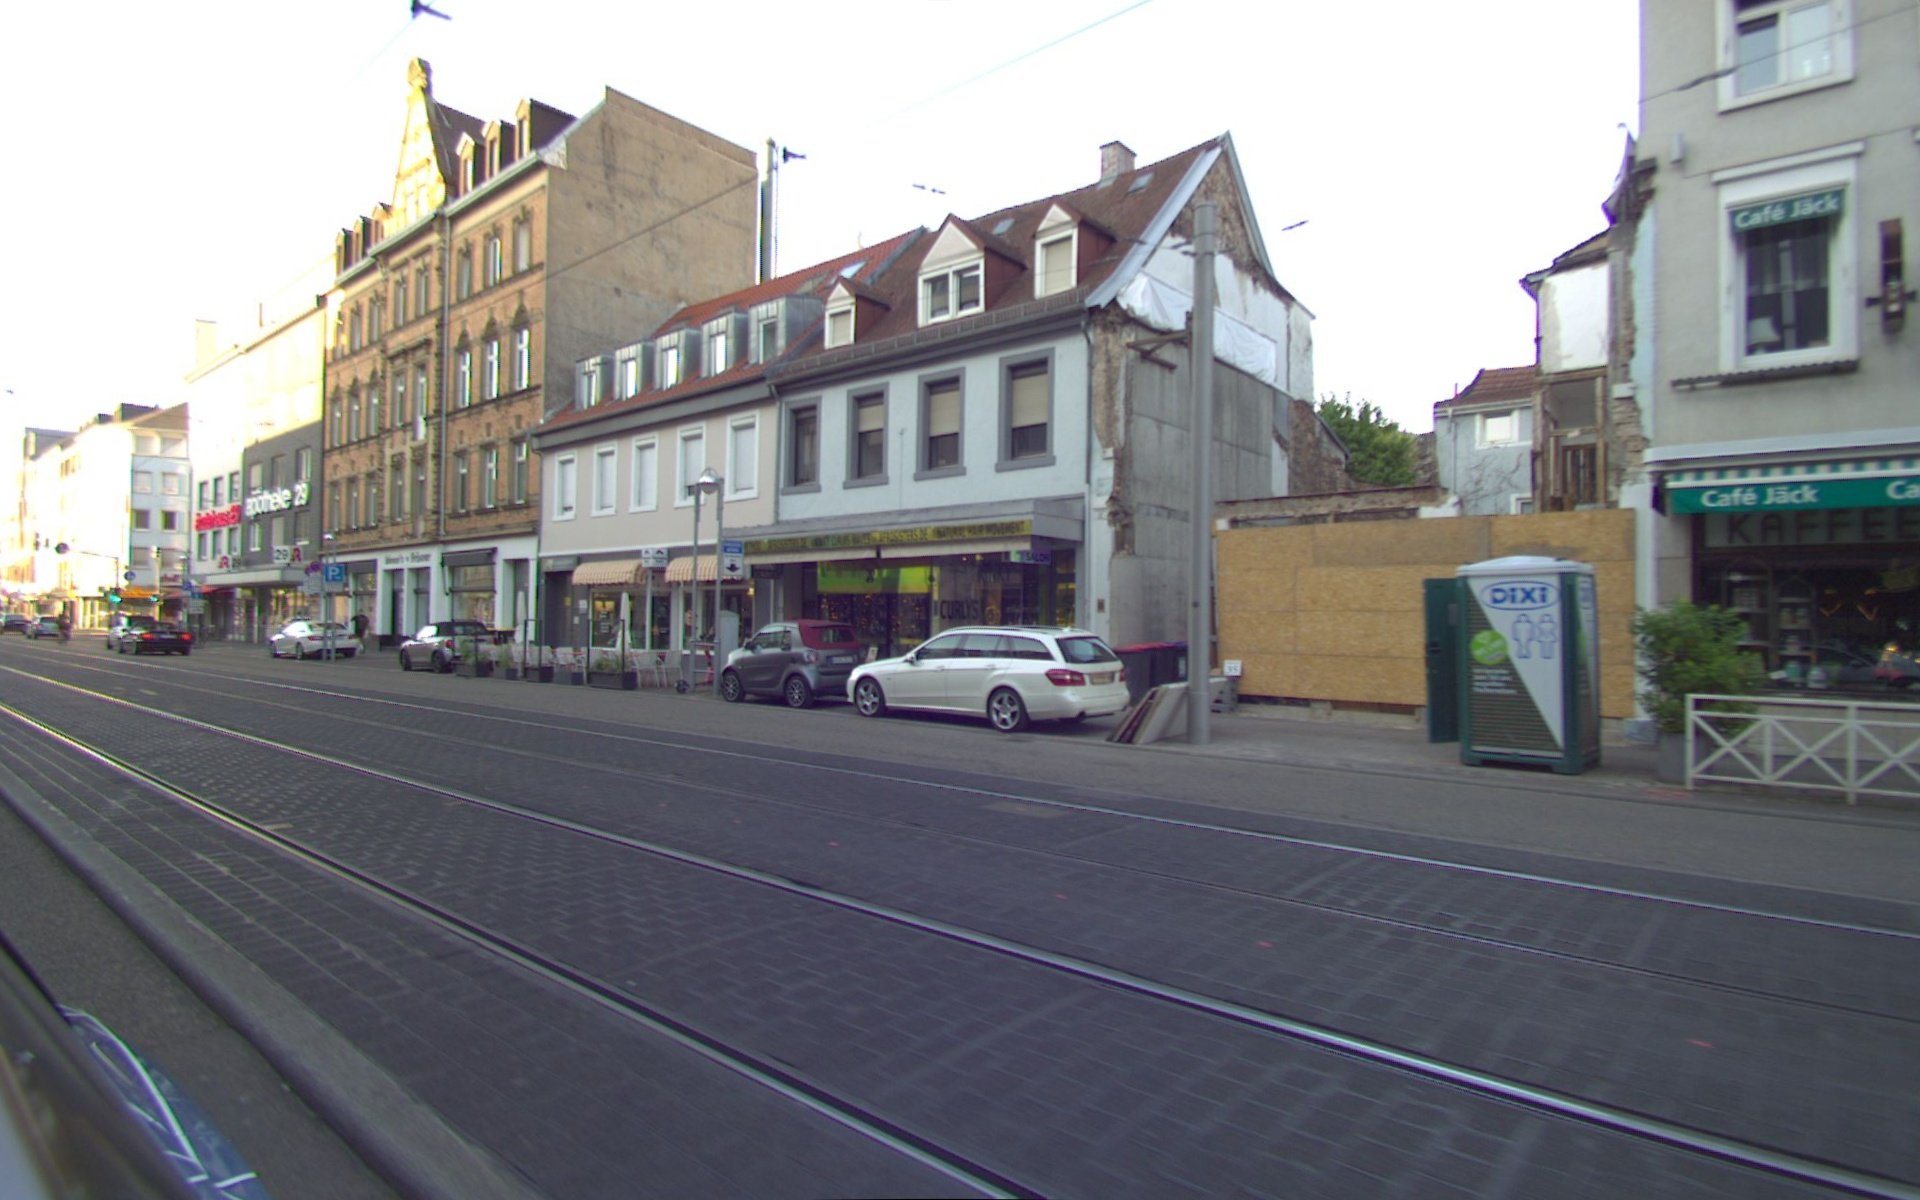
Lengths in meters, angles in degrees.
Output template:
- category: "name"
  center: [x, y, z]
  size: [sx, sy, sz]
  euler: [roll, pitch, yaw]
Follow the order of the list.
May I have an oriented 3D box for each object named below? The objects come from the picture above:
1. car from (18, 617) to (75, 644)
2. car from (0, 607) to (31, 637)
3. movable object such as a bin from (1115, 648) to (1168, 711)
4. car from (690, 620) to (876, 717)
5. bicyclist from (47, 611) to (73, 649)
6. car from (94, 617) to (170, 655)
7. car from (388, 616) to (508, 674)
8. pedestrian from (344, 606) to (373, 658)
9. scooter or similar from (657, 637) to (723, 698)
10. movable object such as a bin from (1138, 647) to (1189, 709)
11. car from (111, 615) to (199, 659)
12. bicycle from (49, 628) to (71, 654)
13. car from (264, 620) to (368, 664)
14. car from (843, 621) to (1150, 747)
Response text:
- category: "car"
  center: [-53.643, 1.748, 59.399]
  size: [3.997, 1.453, 1.973]
  euler: [0, 0, 40]
- category: "car"
  center: [-63.316, 1.427, 67.175]
  size: [3.997, 1.854, 1.973]
  euler: [1, 1, 40]
- category: "movable object such as a bin"
  center: [3.202, 1.388, 17.856]
  size: [0.657, 1.053, 0.674]
  euler: [-1, -2, 45]
- category: "car"
  center: [-3.366, 1.198, 18.961]
  size: [3.469, 1.582, 1.638]
  euler: [0, 0, 41]
- category: "bicyclist"
  center: [-44.115, 1.460, 49.600]
  size: [0.900, 1.819, 0.871]
  euler: [0, 0, 42]
- category: "car"
  center: [-37.407, 1.569, 45.674]
  size: [3.997, 1.564, 1.973]
  euler: [0, 0, 40]
- category: "car"
  center: [-14.943, 1.259, 29.470]
  size: [3.814, 1.504, 1.822]
  euler: [0, 0, 41]
- category: "pedestrian"
  center: [-23.946, 1.248, 40.276]
  size: [0.738, 2.029, 1.049]
  euler: [0, 0, -45]
- category: "scooter or similar"
  center: [-5.584, 1.376, 20.978]
  size: [0.311, 1.177, 1.347]
  euler: [0, 0, 43]
- category: "movable object such as a bin"
  center: [3.694, 1.404, 18.378]
  size: [0.657, 1.053, 0.674]
  euler: [0, 0, 45]
- category: "car"
  center: [-31.377, 1.402, 39.419]
  size: [3.997, 1.574, 1.973]
  euler: [0, 0, 40]
- category: "bicycle"
  center: [-44.118, 2.005, 49.610]
  size: [2.264, 1.199, 0.487]
  euler: [0, 0, 41]
- category: "car"
  center: [-23.886, 1.512, 37.496]
  size: [4.399, 1.431, 1.974]
  euler: [0, 0, 39]
- category: "car"
  center: [0.441, 1.164, 15.652]
  size: [4.620, 1.568, 1.871]
  euler: [0, 0, 41]
